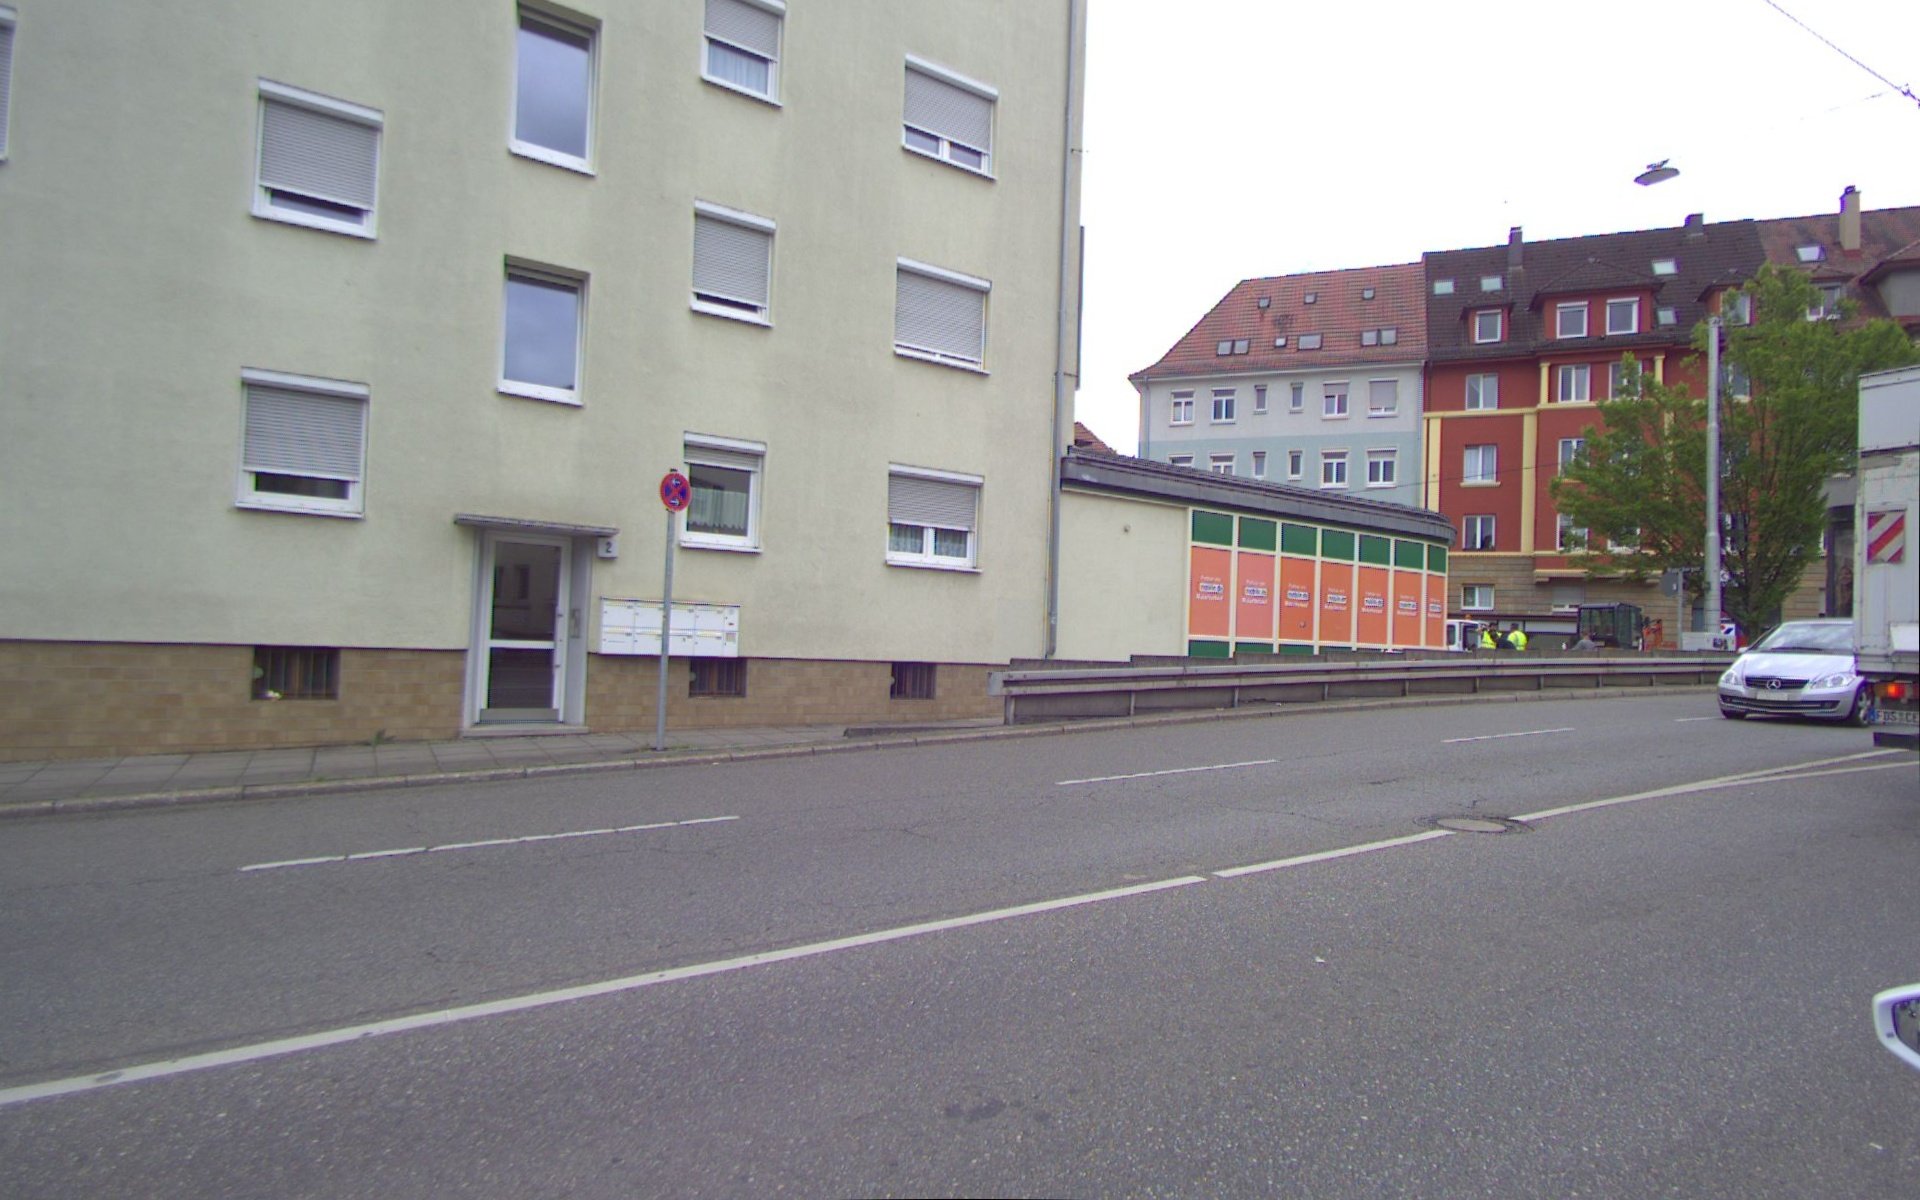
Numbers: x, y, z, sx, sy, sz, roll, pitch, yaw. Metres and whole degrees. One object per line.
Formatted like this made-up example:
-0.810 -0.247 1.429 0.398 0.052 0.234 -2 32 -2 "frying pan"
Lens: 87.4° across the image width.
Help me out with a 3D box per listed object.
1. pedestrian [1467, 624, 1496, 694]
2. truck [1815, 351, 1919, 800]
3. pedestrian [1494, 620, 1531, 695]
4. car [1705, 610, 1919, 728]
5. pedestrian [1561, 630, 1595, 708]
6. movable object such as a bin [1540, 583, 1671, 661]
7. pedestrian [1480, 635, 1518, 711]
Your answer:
13.487 1.522 25.988 0.467 1.753 0.543 2 1 14 "pedestrian"
11.630 -0.151 9.078 7.951 3.623 2.762 1 0 -24 "truck"
13.673 1.411 24.853 0.613 1.785 0.566 1 1 -40 "pedestrian"
13.683 1.025 15.829 3.953 1.639 1.701 2 -1 -30 "car"
14.362 1.587 23.357 0.533 1.753 0.593 3 1 26 "pedestrian"
16.568 0.556 25.700 3.972 1.795 1.884 2 1 -43 "movable object such as a bin"
12.664 1.708 23.596 0.539 1.722 0.557 1 1 -41 "pedestrian"
